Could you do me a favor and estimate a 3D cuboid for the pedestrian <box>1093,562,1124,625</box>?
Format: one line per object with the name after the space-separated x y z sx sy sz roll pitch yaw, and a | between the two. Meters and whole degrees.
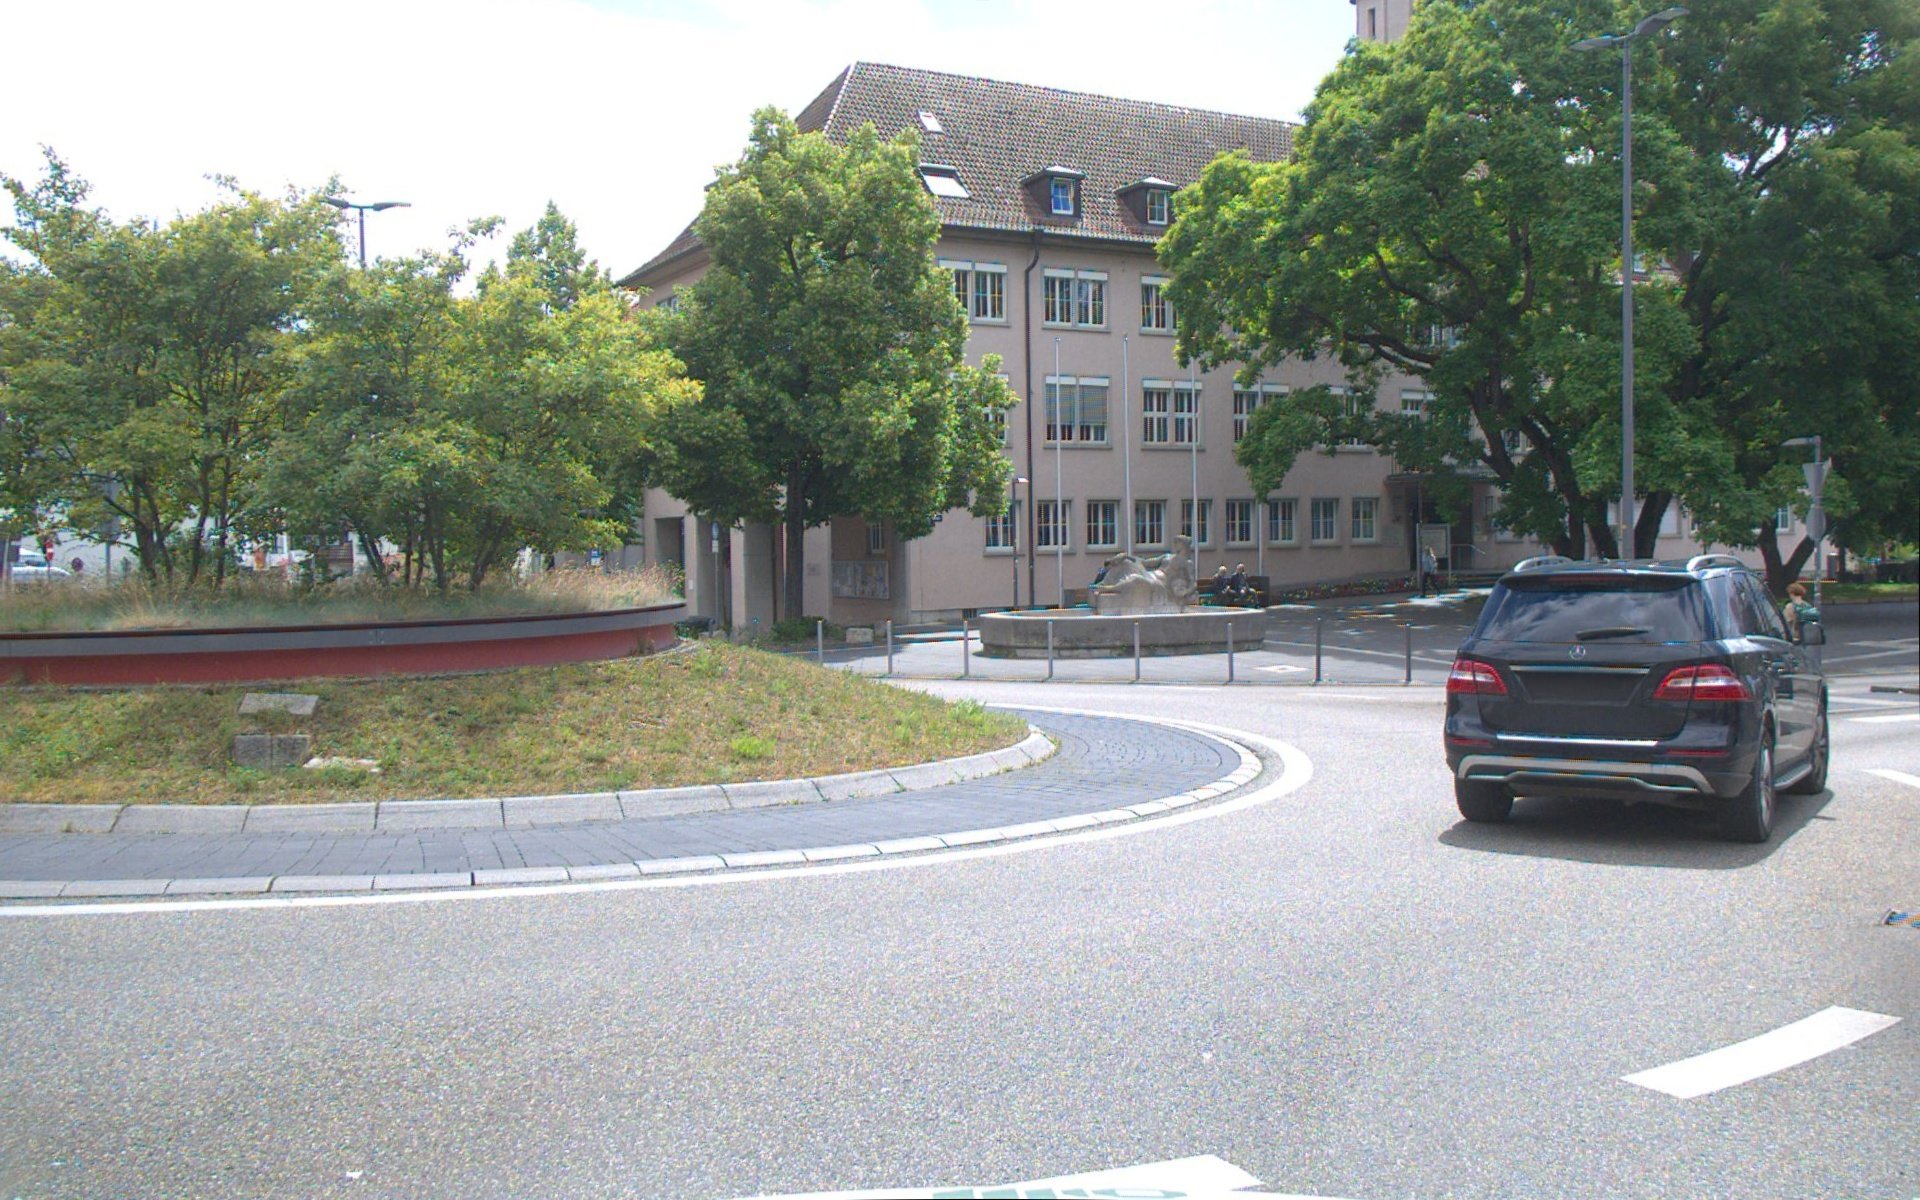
3.774 -0.174 41.938 0.625 1.549 0.576 0 4 -11 | pedestrian

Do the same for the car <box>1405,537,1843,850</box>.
4.865 0.498 11.697 1.992 1.757 4.420 -1 0 34 | car

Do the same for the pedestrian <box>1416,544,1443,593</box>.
14.743 -0.974 51.943 0.683 1.519 0.816 0 0 5 | pedestrian

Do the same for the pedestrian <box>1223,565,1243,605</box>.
8.129 -0.447 49.289 0.476 1.203 0.581 0 0 21 | pedestrian

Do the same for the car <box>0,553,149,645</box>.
-27.799 0.004 49.365 6.234 2.605 2.178 1 -3 -36 | car

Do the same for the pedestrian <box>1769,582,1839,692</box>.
12.354 0.525 24.234 0.541 1.540 0.785 -2 3 -13 | pedestrian

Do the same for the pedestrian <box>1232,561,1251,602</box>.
8.497 -0.562 49.940 0.476 1.243 0.581 0 0 21 | pedestrian
